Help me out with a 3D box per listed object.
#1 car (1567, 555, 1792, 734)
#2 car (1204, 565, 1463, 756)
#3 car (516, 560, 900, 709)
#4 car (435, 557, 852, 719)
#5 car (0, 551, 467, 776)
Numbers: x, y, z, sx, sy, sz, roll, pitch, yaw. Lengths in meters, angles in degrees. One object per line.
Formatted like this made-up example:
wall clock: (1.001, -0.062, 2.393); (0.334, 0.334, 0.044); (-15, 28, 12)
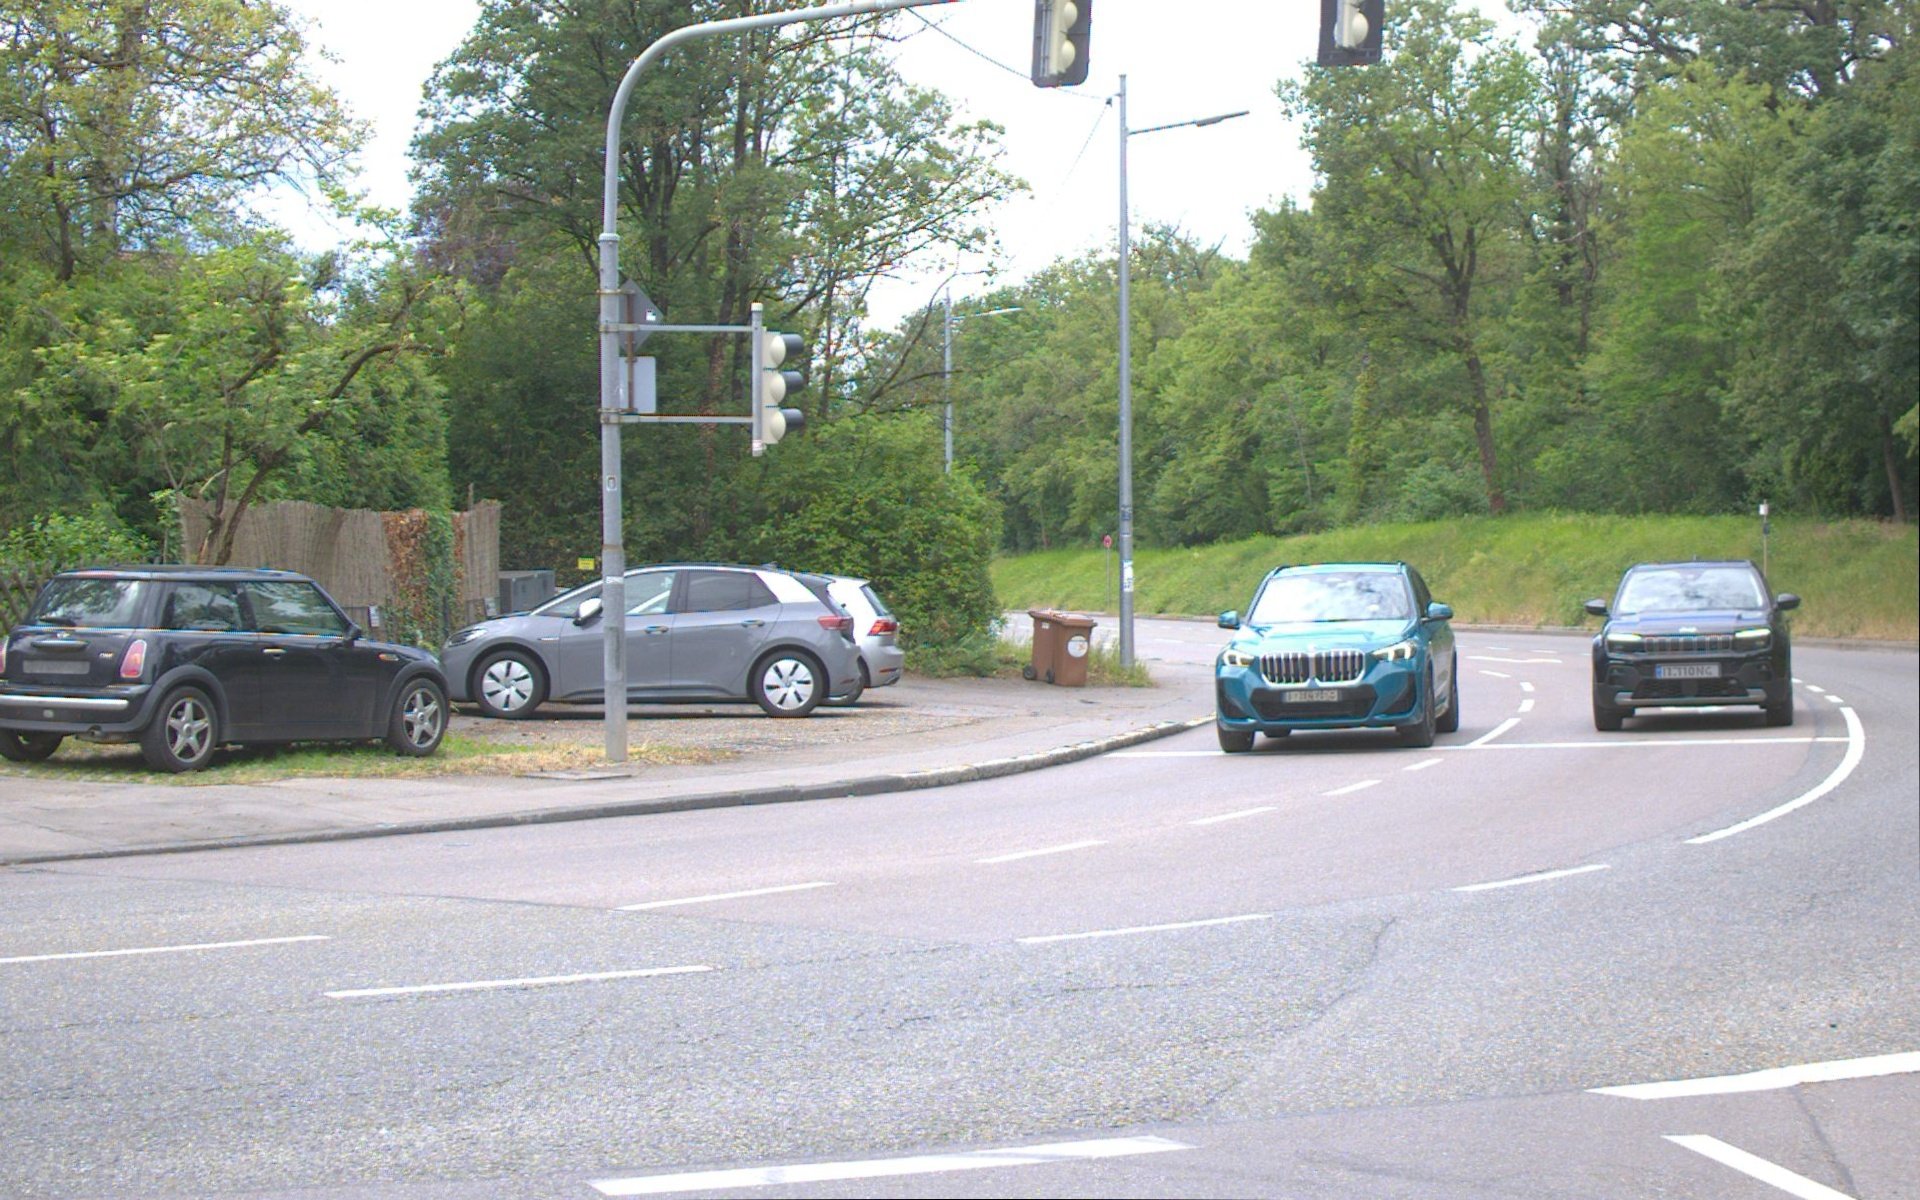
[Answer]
car: (6.733, 0.373, 32.498); (1.816, 1.501, 3.999); (-2, 1, 9)
car: (3.414, 0.498, 30.831); (1.858, 1.501, 3.998); (-2, 1, 12)
car: (-2.748, 0.355, 37.687); (4.085, 1.548, 1.855); (0, 2, -4)
car: (-3.164, 0.359, 34.776); (4.085, 1.548, 1.855); (0, 2, -4)
car: (-5.374, 0.404, 24.861); (1.700, 1.444, 3.537); (3, 2, 31)
